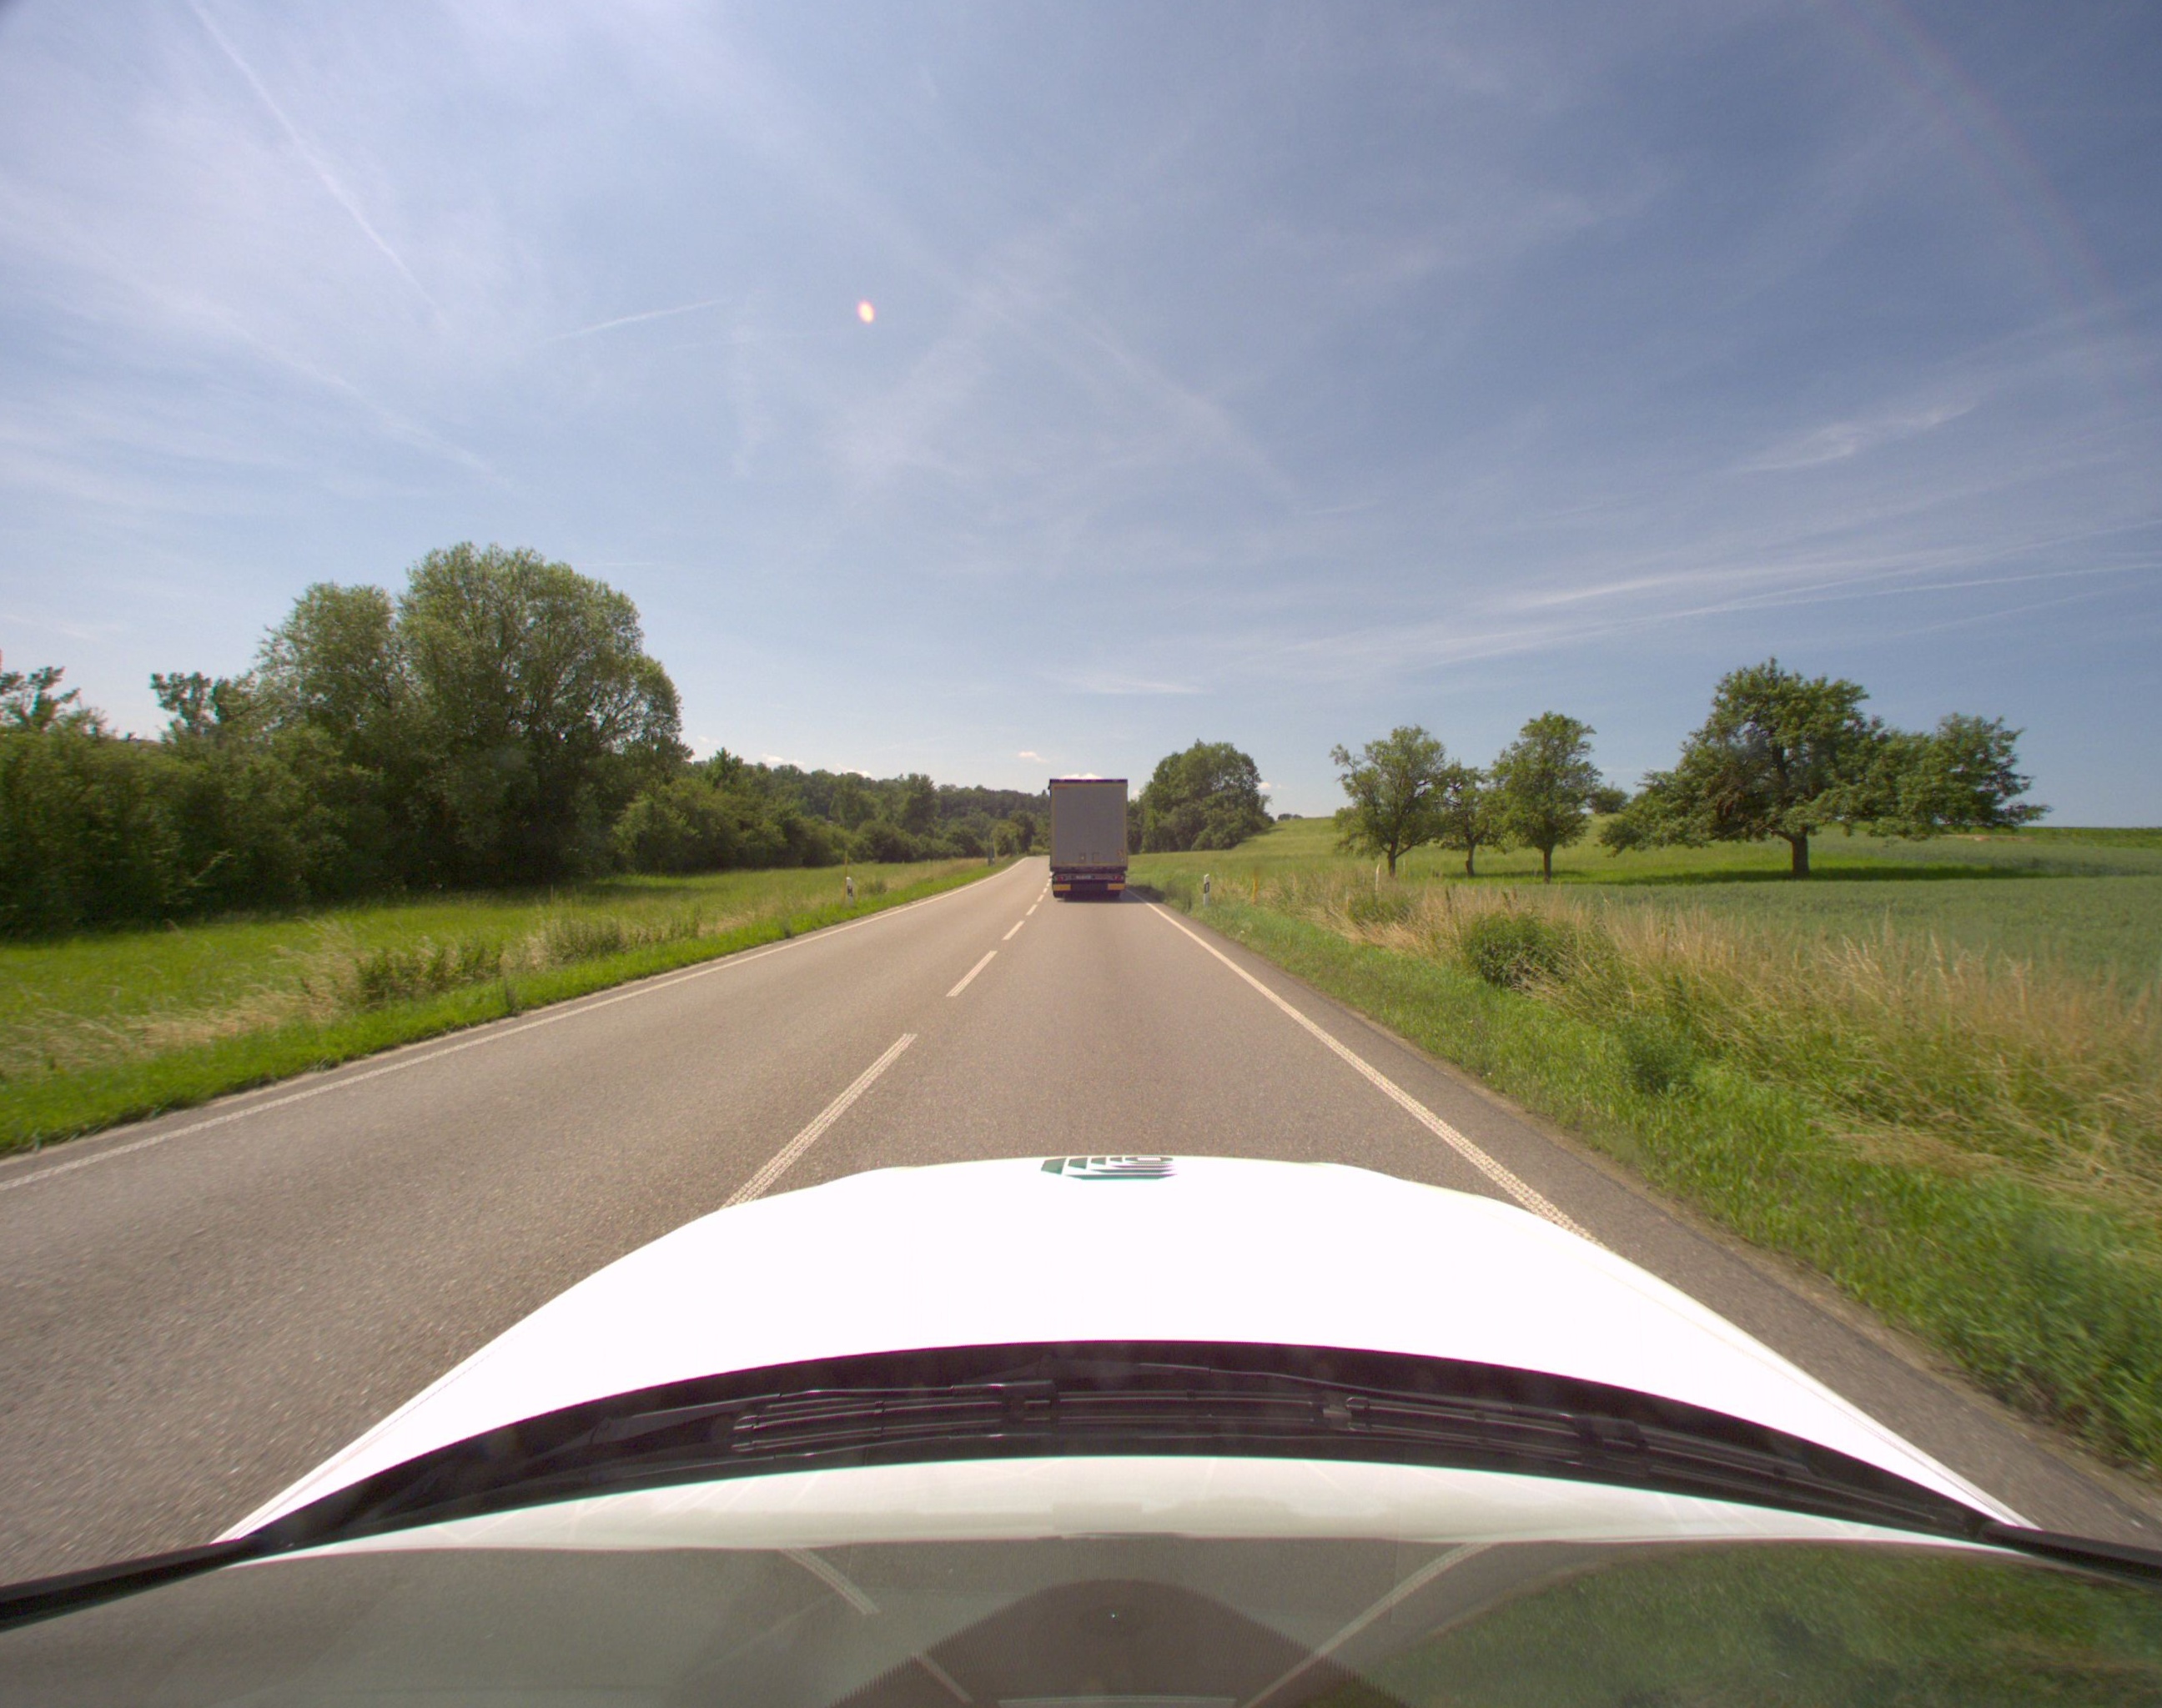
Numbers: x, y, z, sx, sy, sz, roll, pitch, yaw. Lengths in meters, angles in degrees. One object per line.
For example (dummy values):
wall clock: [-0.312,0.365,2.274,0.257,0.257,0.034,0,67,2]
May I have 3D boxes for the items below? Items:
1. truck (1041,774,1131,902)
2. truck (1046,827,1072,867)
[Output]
truck: [0.092,-0.485,33.833,2.793,4.068,15.319,-1,0,-1]
truck: [-3.206,-1.199,114.409,3.098,4.704,16.577,-3,3,-3]
